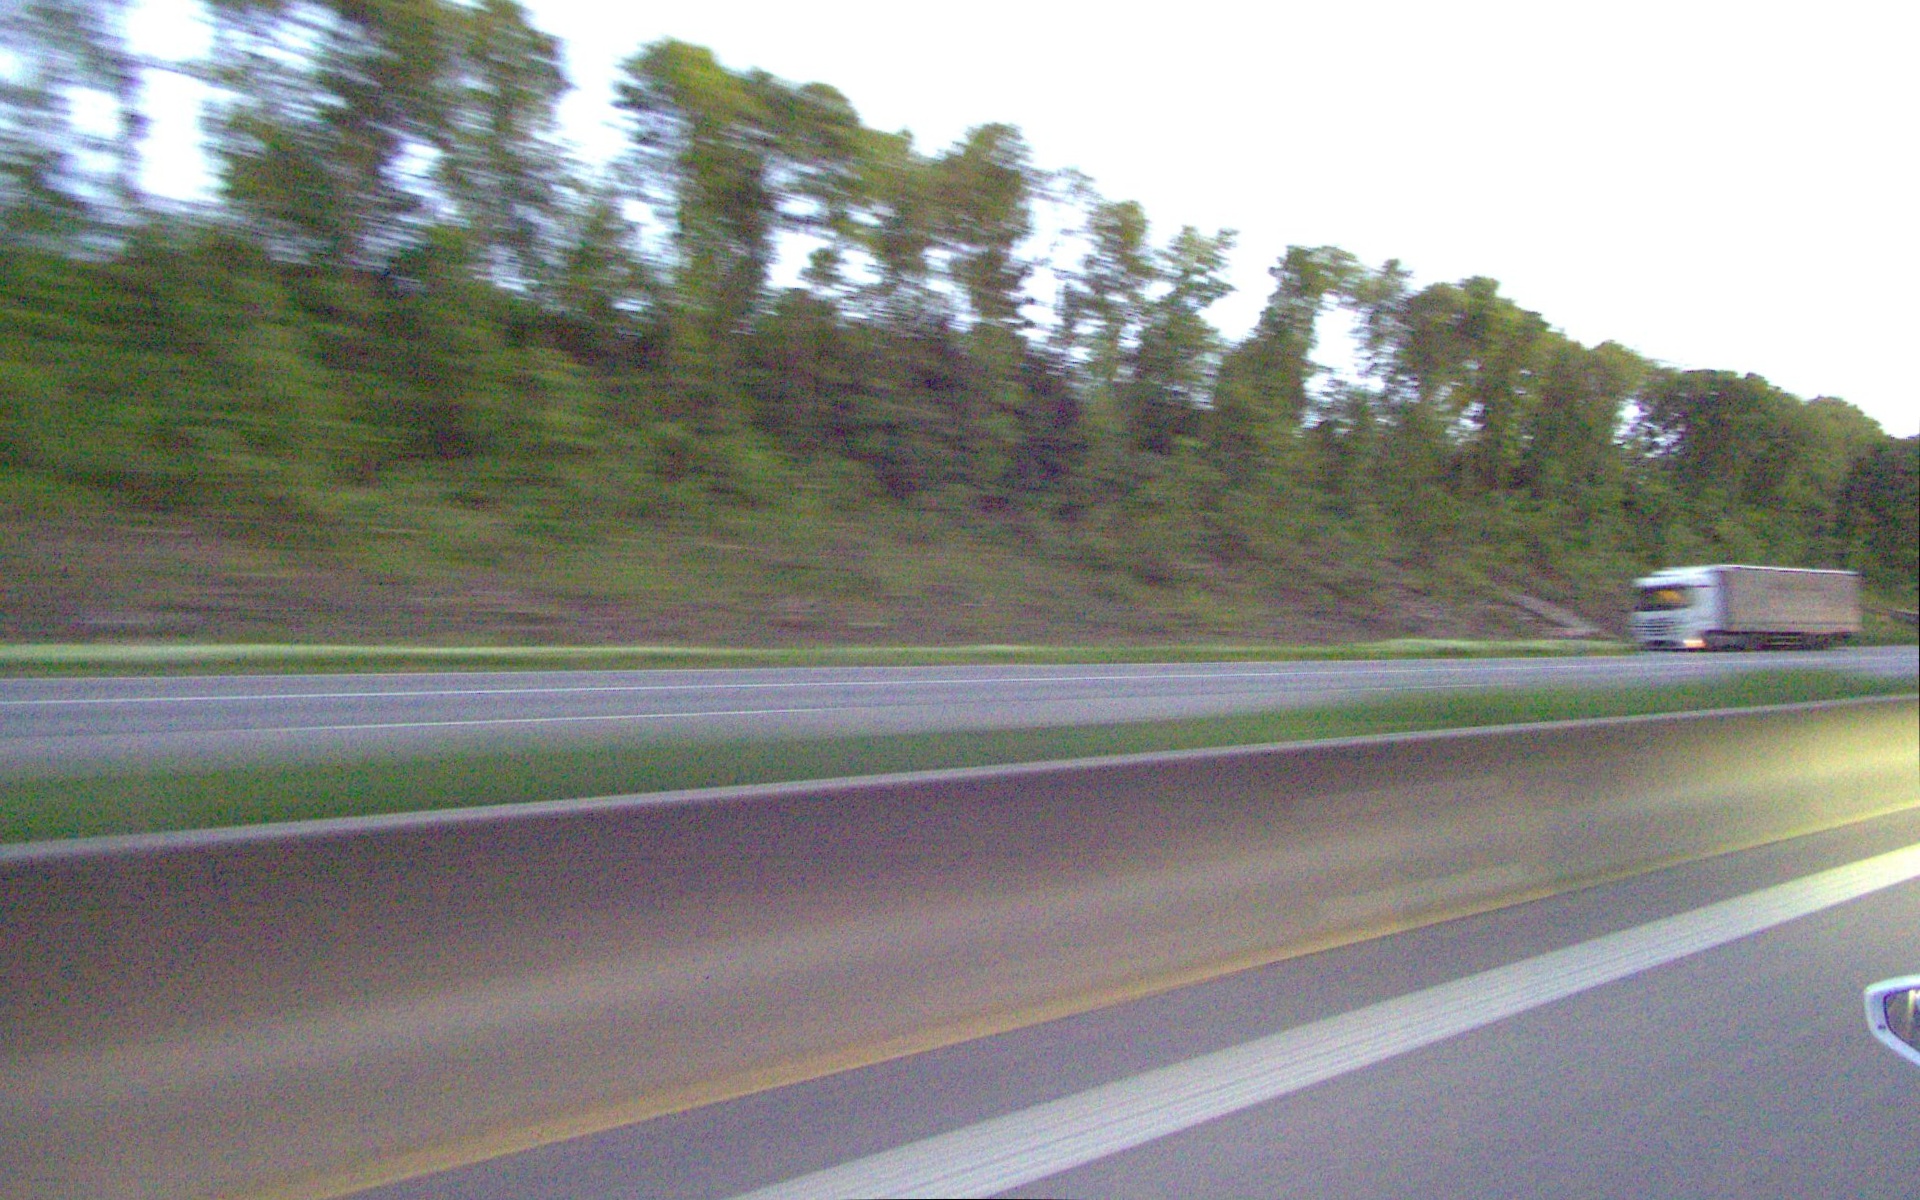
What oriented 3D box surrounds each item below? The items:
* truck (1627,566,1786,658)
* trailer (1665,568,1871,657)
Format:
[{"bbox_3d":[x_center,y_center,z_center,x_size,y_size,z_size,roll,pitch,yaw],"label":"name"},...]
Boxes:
[{"bbox_3d":[36.388,0.647,48.918,7.591,4.159,3.179,2,0,-27],"label":"truck"},{"bbox_3d":[41.847,0.764,51.804,13.567,4.159,3.178,2,0,-28],"label":"trailer"}]
